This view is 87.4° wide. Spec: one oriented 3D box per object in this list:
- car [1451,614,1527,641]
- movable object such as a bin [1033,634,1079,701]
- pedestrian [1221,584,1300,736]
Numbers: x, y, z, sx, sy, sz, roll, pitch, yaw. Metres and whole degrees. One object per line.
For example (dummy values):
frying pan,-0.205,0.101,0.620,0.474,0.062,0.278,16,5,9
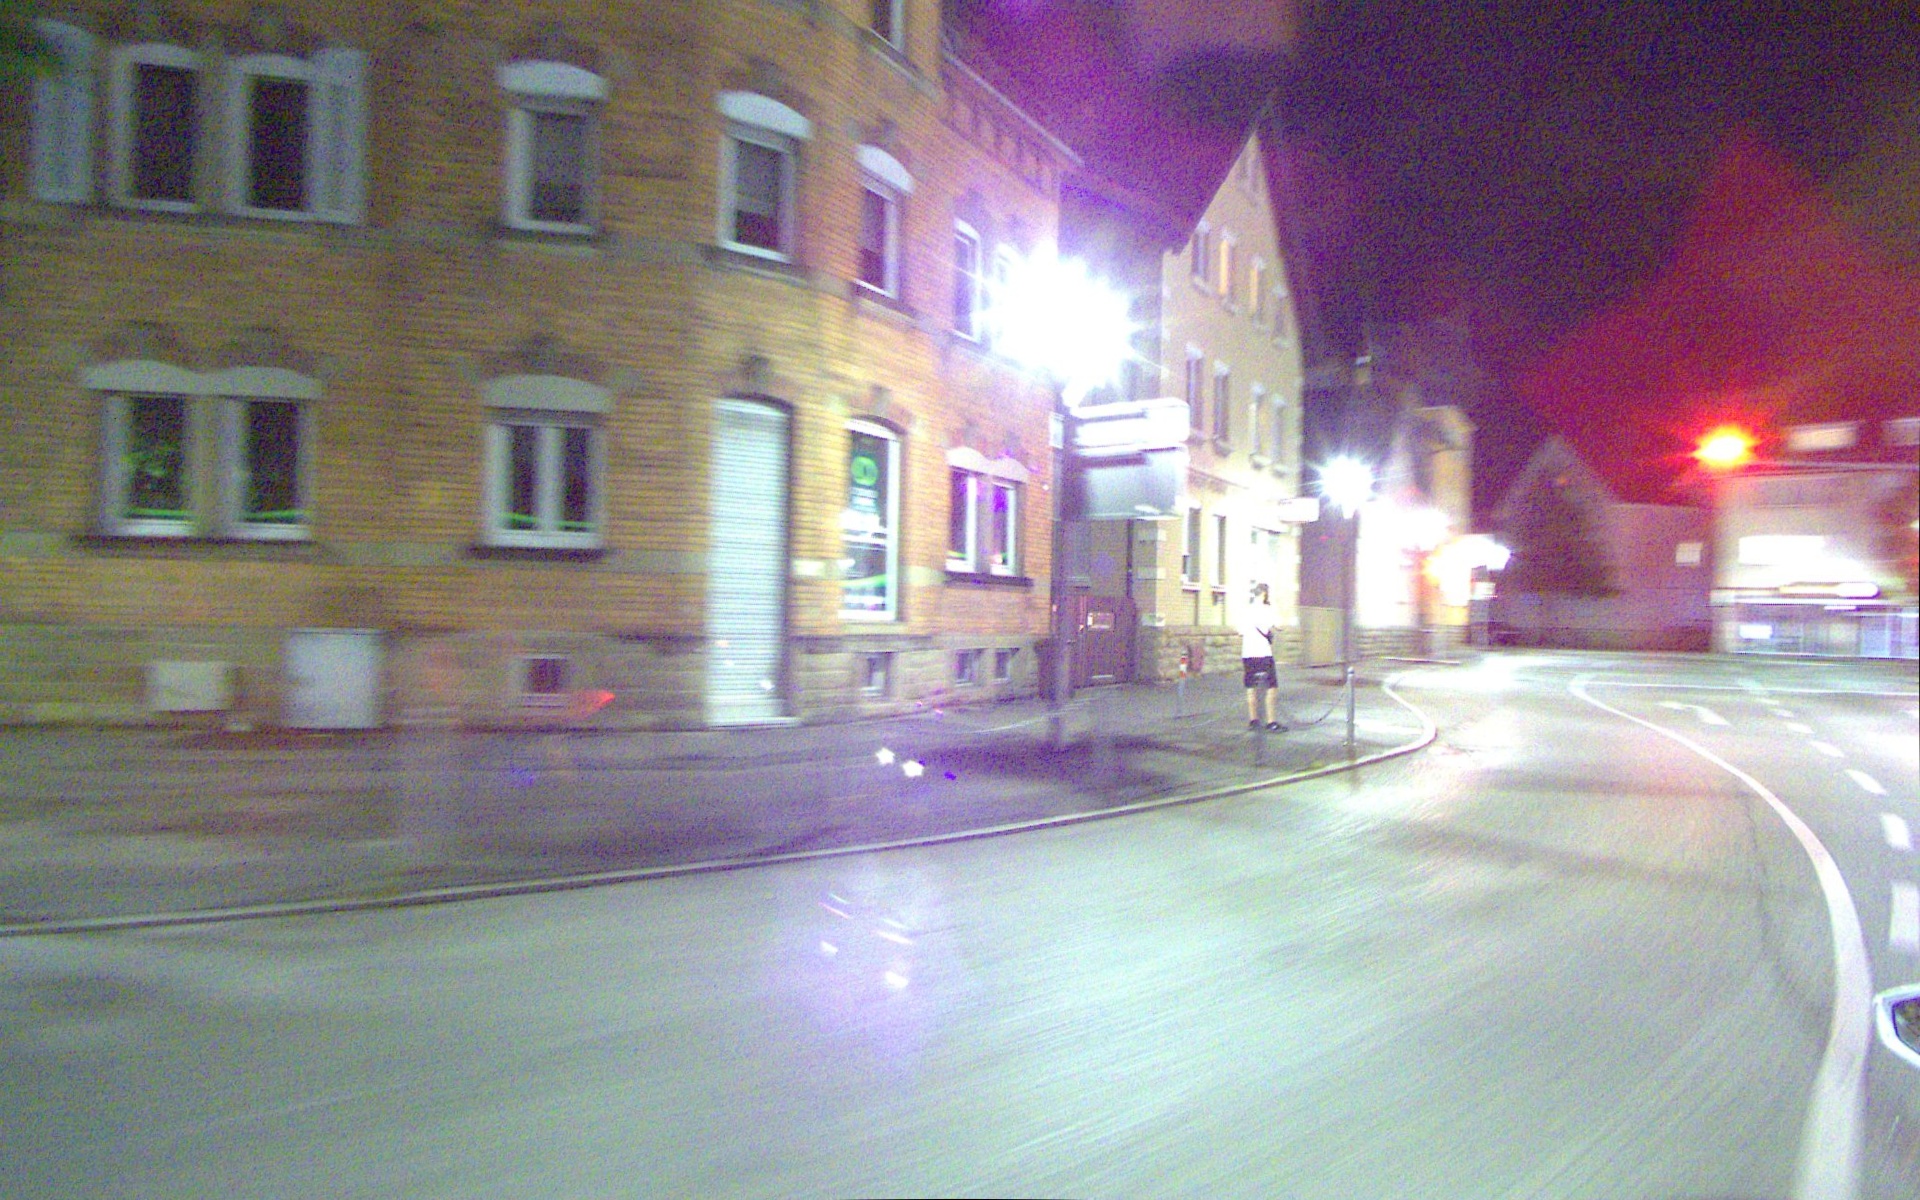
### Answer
car,33.167,1.781,63.155,1.965,1.594,4.321,1,-3,-11
movable object such as a bin,1.487,1.033,15.535,0.490,1.004,0.557,0,0,34
pedestrian,3.827,0.740,12.776,0.714,1.846,0.690,3,1,36
